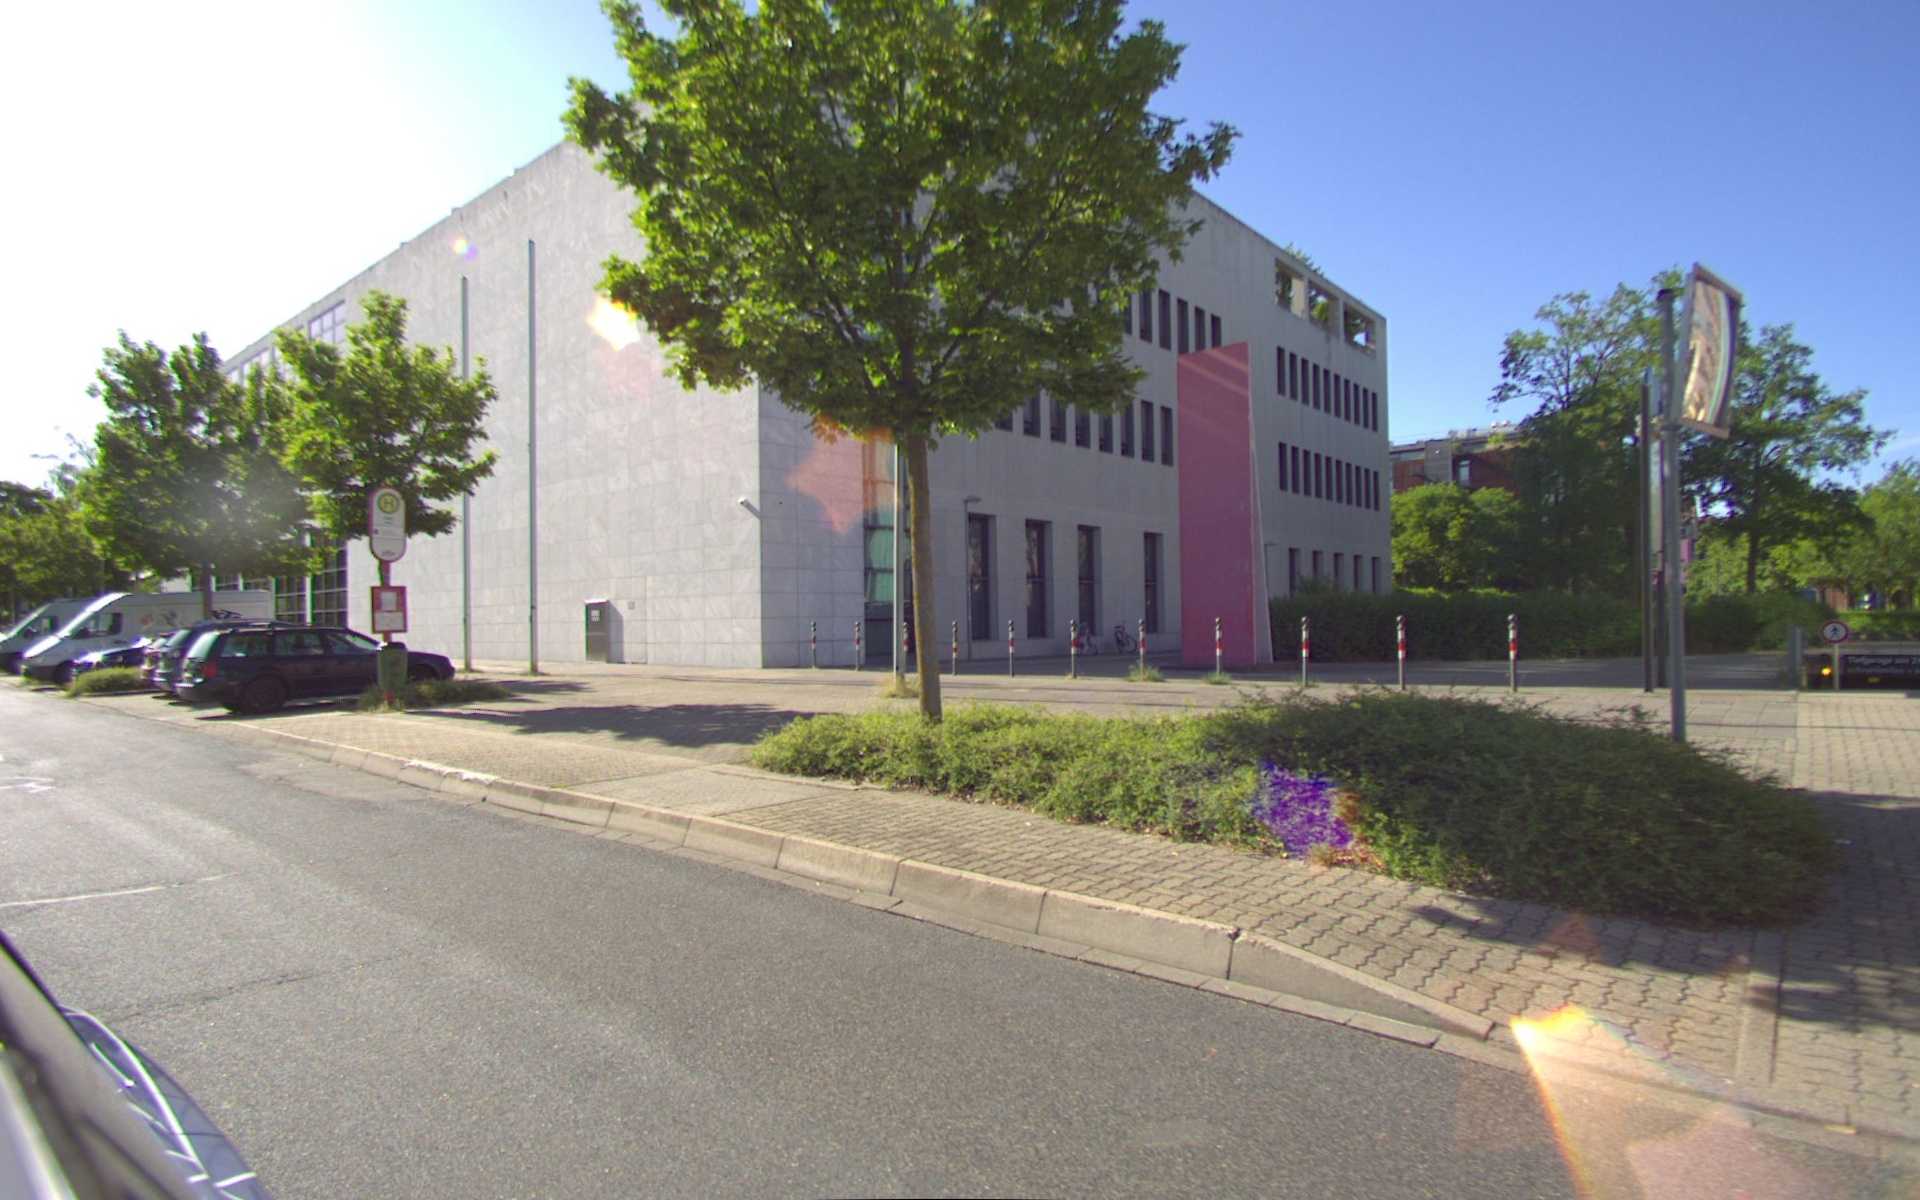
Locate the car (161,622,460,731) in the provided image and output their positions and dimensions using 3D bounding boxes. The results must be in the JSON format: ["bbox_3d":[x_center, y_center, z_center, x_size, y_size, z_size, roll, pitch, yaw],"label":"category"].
[{"bbox_3d":[-11.727,1.296,18.529,1.717,1.525,4.261,-2,1,40],"label":"car"}]

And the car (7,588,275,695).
[{"bbox_3d":[-22.594,1.041,28.149,2.010,2.501,5.510,-2,1,43],"label":"car"}]

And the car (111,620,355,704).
[{"bbox_3d":[-16.650,1.344,23.370,1.692,1.525,4.261,-2,1,40],"label":"car"}]

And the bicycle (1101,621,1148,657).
[{"bbox_3d":[5.755,1.358,35.323,0.716,1.219,2.235,-2,-2,35],"label":"bicycle"}]

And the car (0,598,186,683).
[{"bbox_3d":[-31.312,1.367,36.132,2.010,2.657,5.510,-2,1,43],"label":"car"}]

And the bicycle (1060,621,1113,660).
[{"bbox_3d":[4.161,1.302,33.137,0.716,1.219,2.235,-2,-2,35],"label":"bicycle"}]

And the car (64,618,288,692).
[{"bbox_3d":[-20.021,1.333,25.995,1.692,1.525,4.261,-2,1,40],"label":"car"}]

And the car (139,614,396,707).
[{"bbox_3d":[-14.845,1.227,21.910,1.692,1.595,4.261,-2,1,40],"label":"car"}]
